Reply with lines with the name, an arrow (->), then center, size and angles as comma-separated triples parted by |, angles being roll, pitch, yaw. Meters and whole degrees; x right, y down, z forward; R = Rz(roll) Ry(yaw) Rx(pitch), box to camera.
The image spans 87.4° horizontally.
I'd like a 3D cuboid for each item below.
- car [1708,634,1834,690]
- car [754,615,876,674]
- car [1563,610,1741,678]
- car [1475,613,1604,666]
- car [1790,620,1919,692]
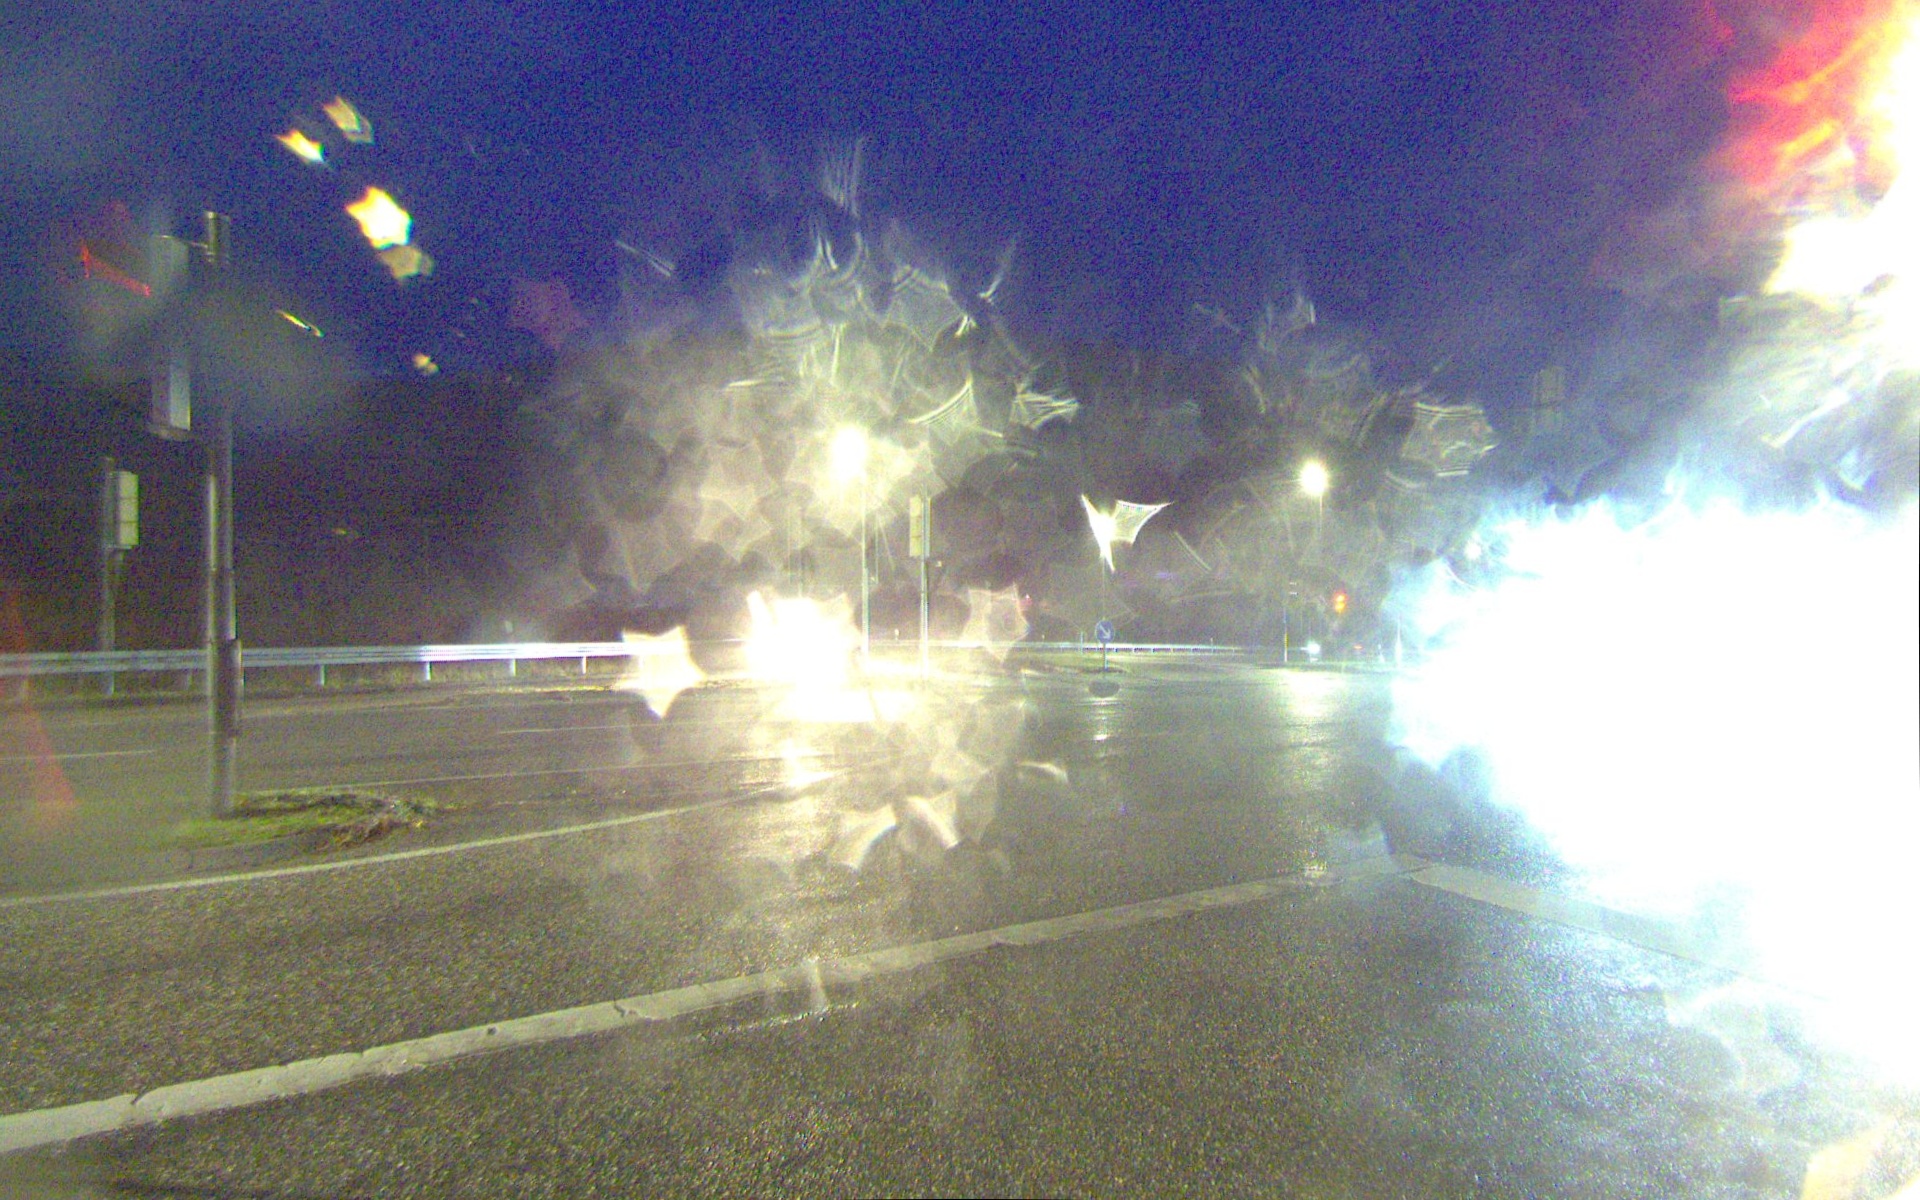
car -> 23.428, 1.791, 29.008 | 3.685, 1.473, 1.660 | 2, -1, -31
car -> -3.996, 1.281, 28.506 | 1.626, 1.518, 4.376 | -2, -3, 19
car -> 17.719, 1.090, 25.667 | 4.853, 1.592, 1.784 | 1, -1, -29
car -> 21.183, 1.400, 36.906 | 3.924, 1.856, 1.720 | 0, -1, 24
car -> 22.132, 1.311, 24.261 | 4.656, 1.592, 1.691 | 1, -1, -30
